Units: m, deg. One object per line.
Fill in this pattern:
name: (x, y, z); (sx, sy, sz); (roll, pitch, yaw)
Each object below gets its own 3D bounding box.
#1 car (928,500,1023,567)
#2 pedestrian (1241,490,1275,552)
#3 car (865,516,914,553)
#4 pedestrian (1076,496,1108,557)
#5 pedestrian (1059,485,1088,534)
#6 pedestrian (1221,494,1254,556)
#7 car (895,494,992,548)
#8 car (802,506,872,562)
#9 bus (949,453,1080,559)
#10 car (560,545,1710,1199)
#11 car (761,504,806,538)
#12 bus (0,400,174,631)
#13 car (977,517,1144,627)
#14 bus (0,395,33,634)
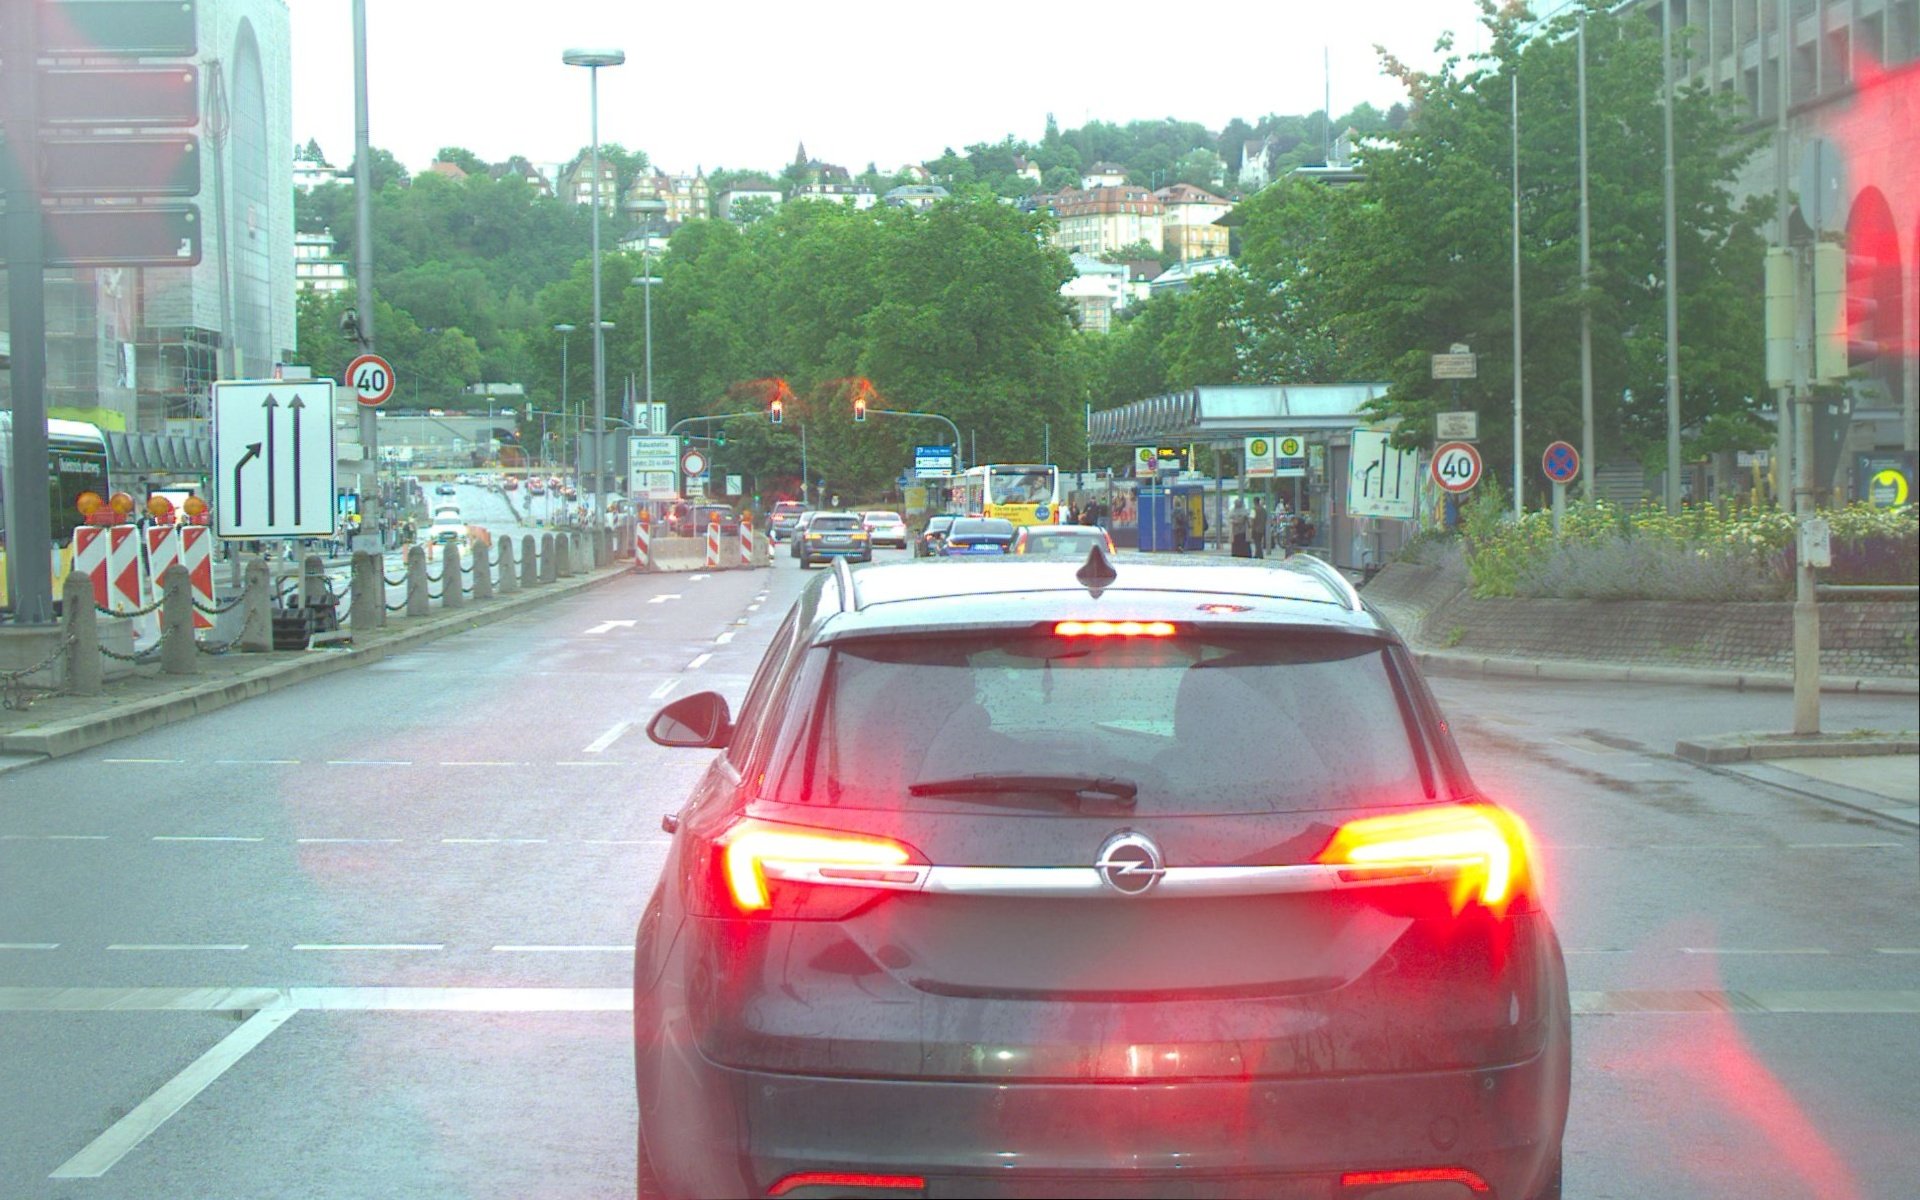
car: (0.301, -1.425, 74.507); (1.753, 1.393, 4.649); (1, 1, -3)
pedestrian: (8.147, -2.155, 94.077); (0.763, 1.684, 0.825); (1, 1, -5)
car: (-2.720, -2.525, 133.687); (1.845, 1.393, 3.564); (1, 1, -1)
pedestrian: (5.301, -2.939, 137.929); (1.199, 2.427, 1.228); (1, 1, 1)
pedestrian: (5.013, -3.980, 151.663); (1.199, 2.141, 1.228); (1, 1, 1)
pedestrian: (7.697, -2.075, 95.355); (0.763, 1.684, 0.825); (1, 1, -5)
car: (-0.476, -2.105, 92.223); (1.752, 1.393, 4.403); (1, 1, -12)
car: (-3.196, -1.697, 89.574); (1.753, 1.393, 4.538); (1, 1, -2)
bus: (1.783, -3.199, 120.879); (4.173, 3.457, 14.655); (1, 1, -1)
car: (0.247, 0.637, 7.651); (1.874, 1.481, 4.000); (1, 1, -1)
car: (-7.686, -3.443, 149.920); (1.759, 1.393, 3.564); (1, 1, -1)
bus: (-15.853, -1.395, 58.539); (2.668, 3.589, 10.212); (1, 1, -1)
car: (1.310, -0.384, 46.296); (1.845, 1.393, 3.667); (1, 1, -5)
bus: (-15.726, -1.260, 48.353); (2.668, 3.589, 10.240); (1, 1, -1)
